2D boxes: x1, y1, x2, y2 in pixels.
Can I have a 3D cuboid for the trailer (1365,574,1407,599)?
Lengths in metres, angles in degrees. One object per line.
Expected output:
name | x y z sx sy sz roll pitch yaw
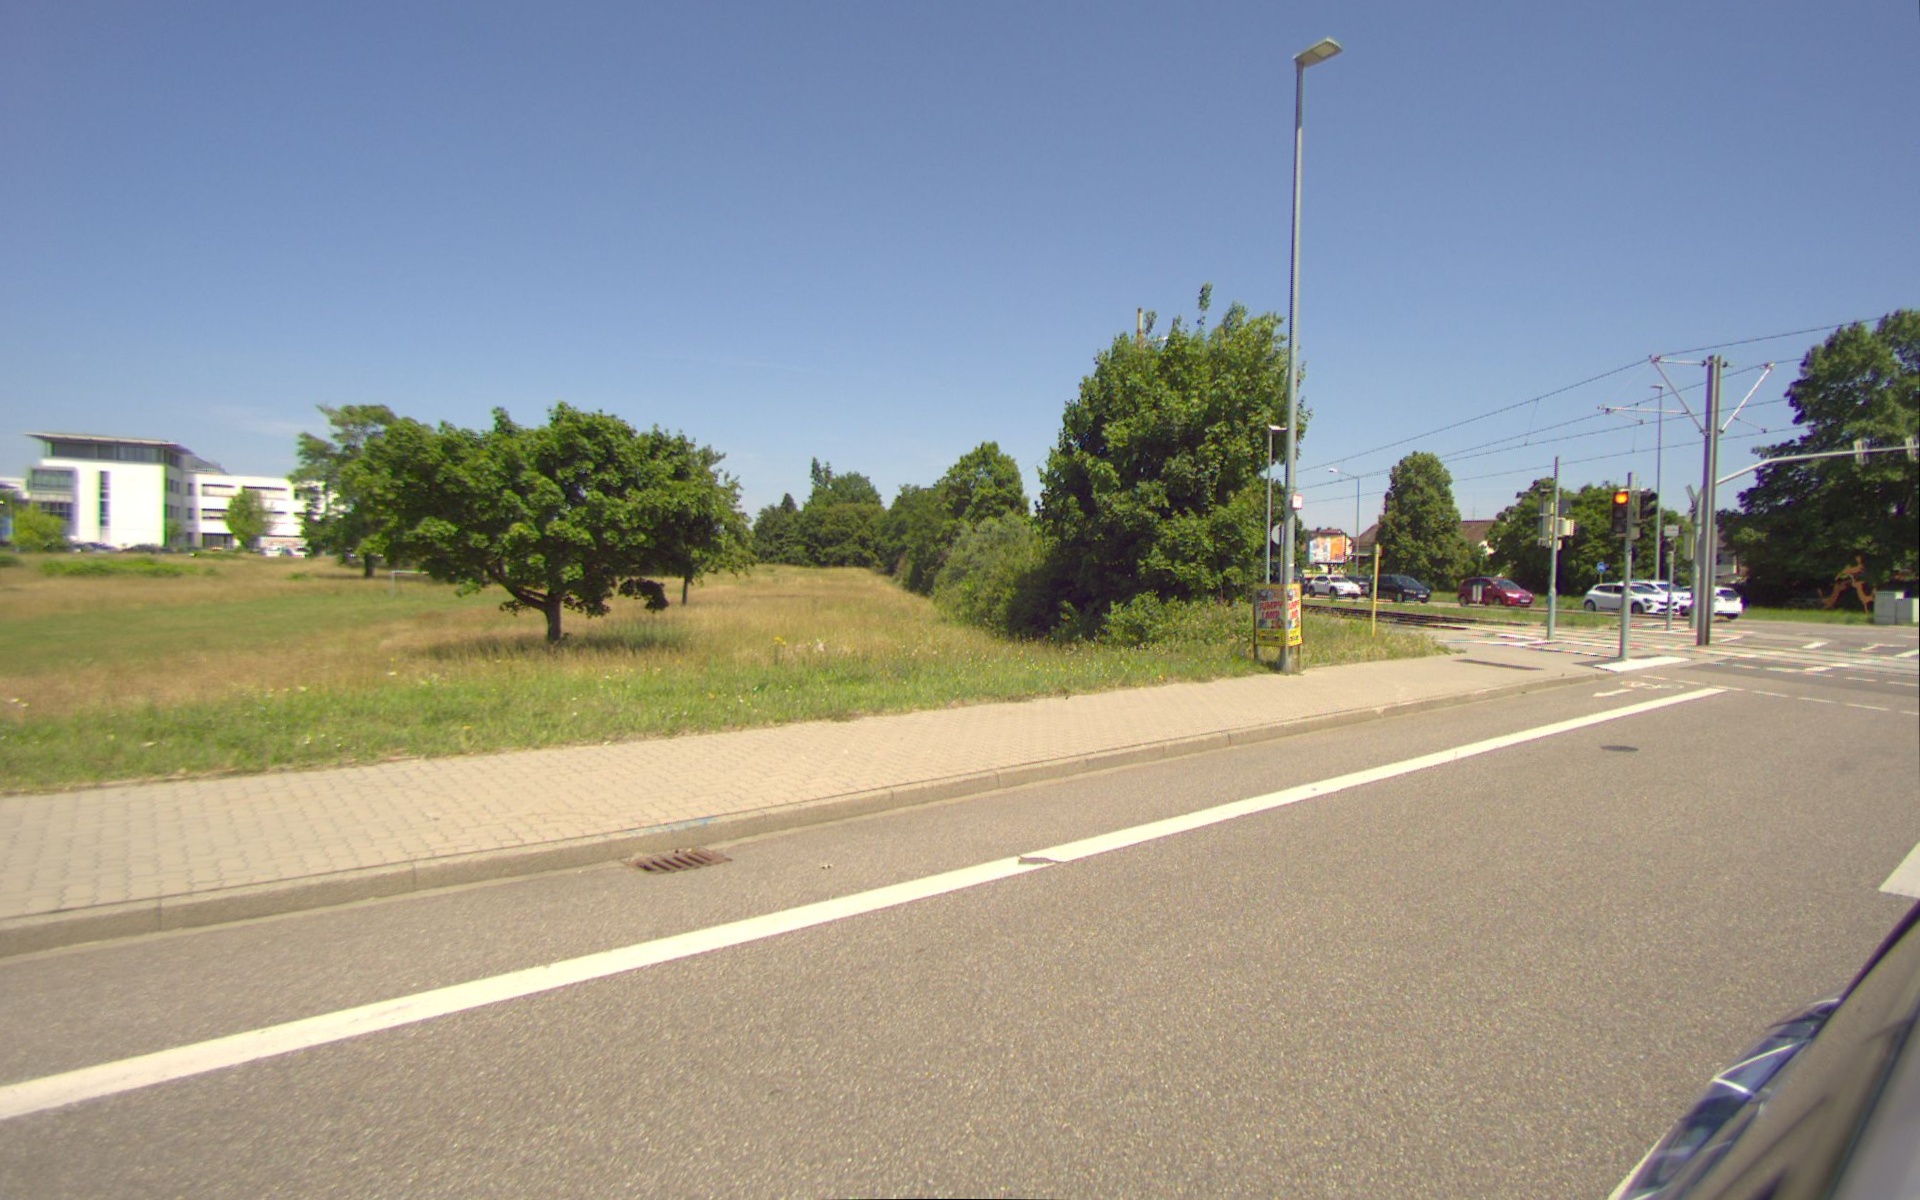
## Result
trailer | 30.917 -0.992 73.511 1.379 1.675 2.944 2 1 -10

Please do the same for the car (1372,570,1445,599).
car | 26.898 -0.980 60.883 1.836 1.595 4.420 2 2 -9

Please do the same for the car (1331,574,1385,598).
car | 30.283 -1.122 77.143 1.696 1.678 4.417 2 2 -10

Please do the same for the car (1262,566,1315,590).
car | 24.240 -1.637 74.799 1.836 1.595 4.420 2 2 -9

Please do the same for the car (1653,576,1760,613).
car | 35.612 -0.295 48.391 1.695 1.523 3.907 2 2 -11

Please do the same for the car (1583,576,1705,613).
car | 29.918 -0.280 44.453 1.836 1.406 4.420 2 2 -9

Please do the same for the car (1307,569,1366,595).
car | 25.224 -1.239 67.892 1.695 1.595 4.420 2 2 -9

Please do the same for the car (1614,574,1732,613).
car | 32.743 -0.351 46.633 1.836 1.595 4.420 2 2 -9

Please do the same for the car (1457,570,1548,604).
car | 28.326 -0.709 53.021 1.836 1.595 4.420 2 2 -9
